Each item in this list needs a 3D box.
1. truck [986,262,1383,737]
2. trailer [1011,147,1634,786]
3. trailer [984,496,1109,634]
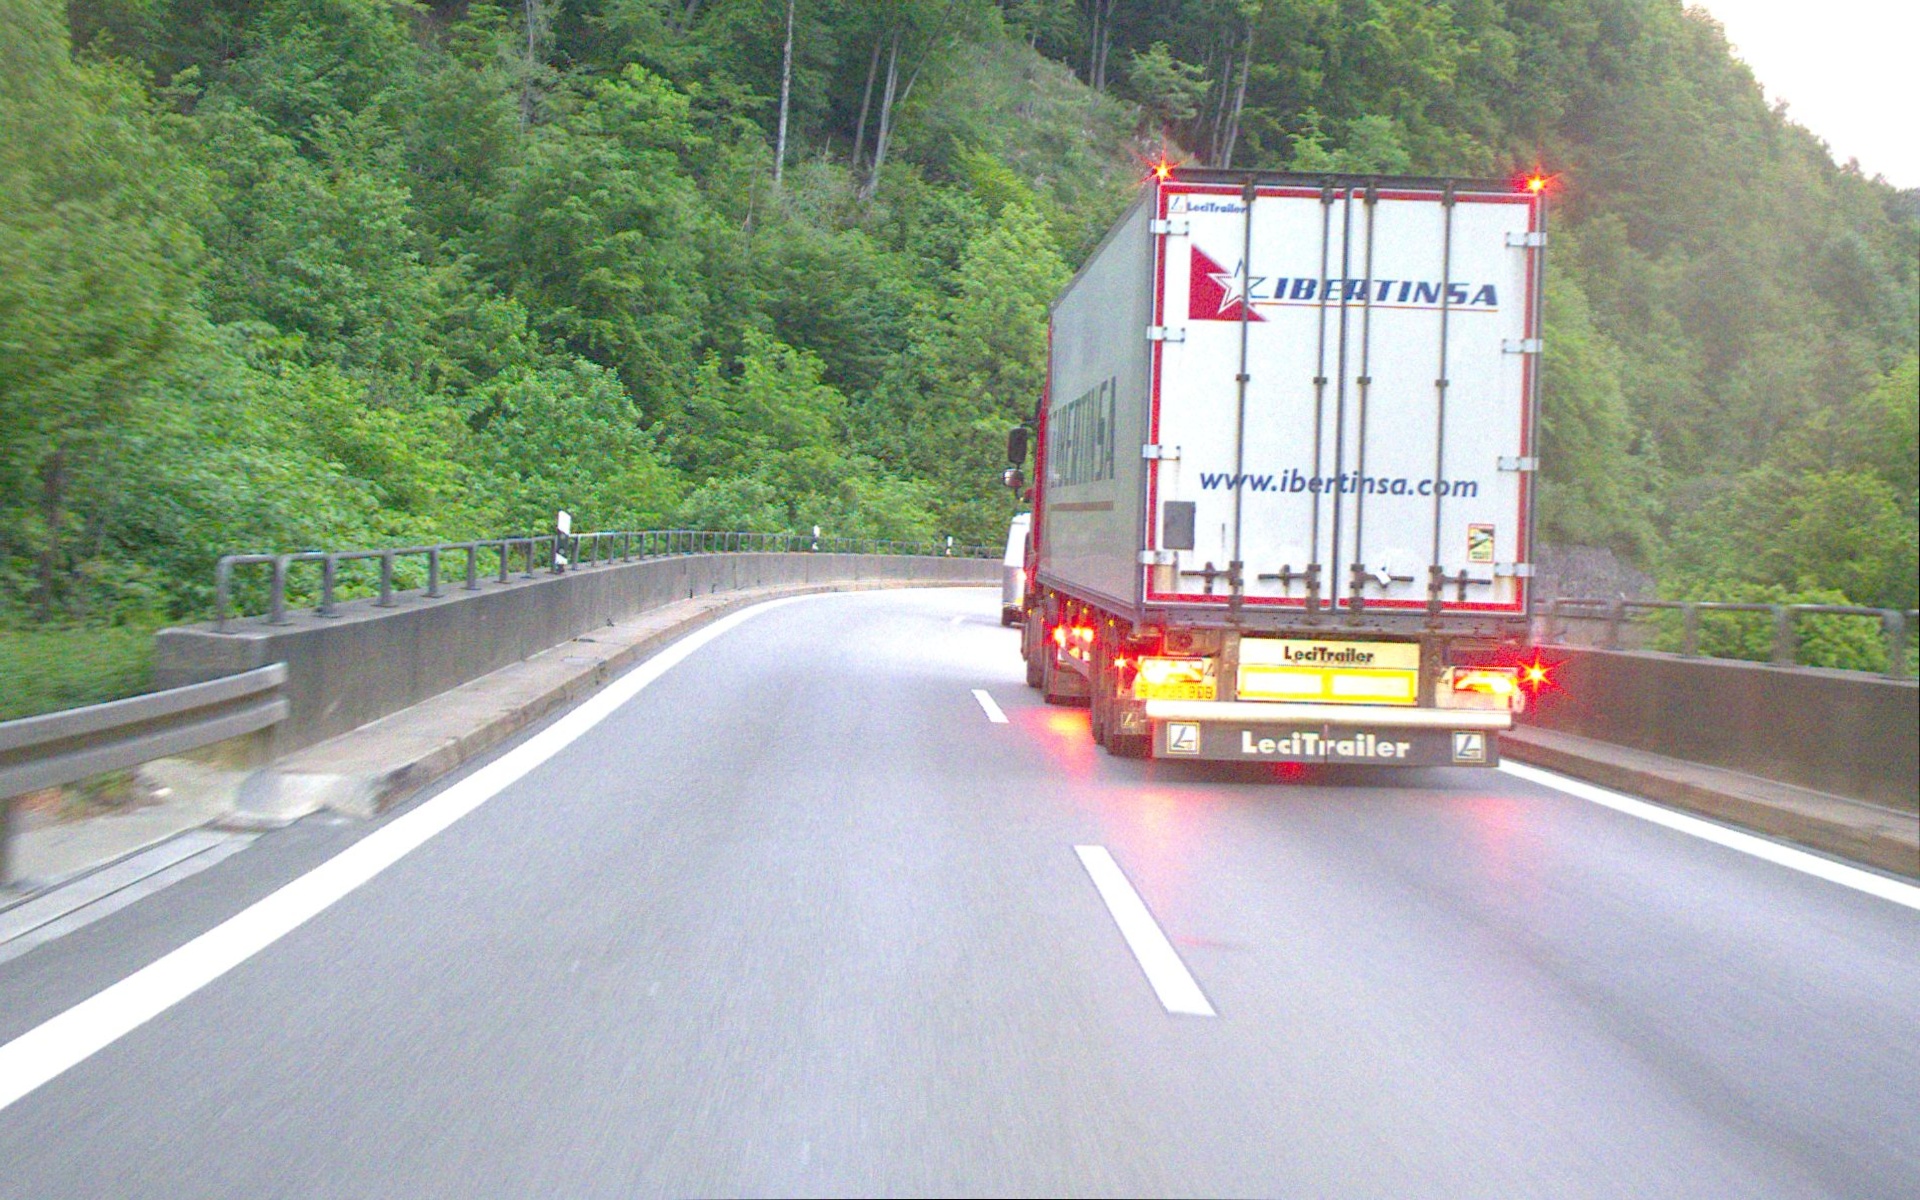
[{"bbox_3d":[2.124,-0.982,35.287,3.069,4.130,6.447,6,1,-2],"label":"truck"},{"bbox_3d":[2.393,-0.968,28.762,3.097,3.956,14.220,1,1,-2],"label":"trailer"},{"bbox_3d":[1.769,-0.746,68.166,2.055,2.366,5.938,7,2,3],"label":"trailer"}]
